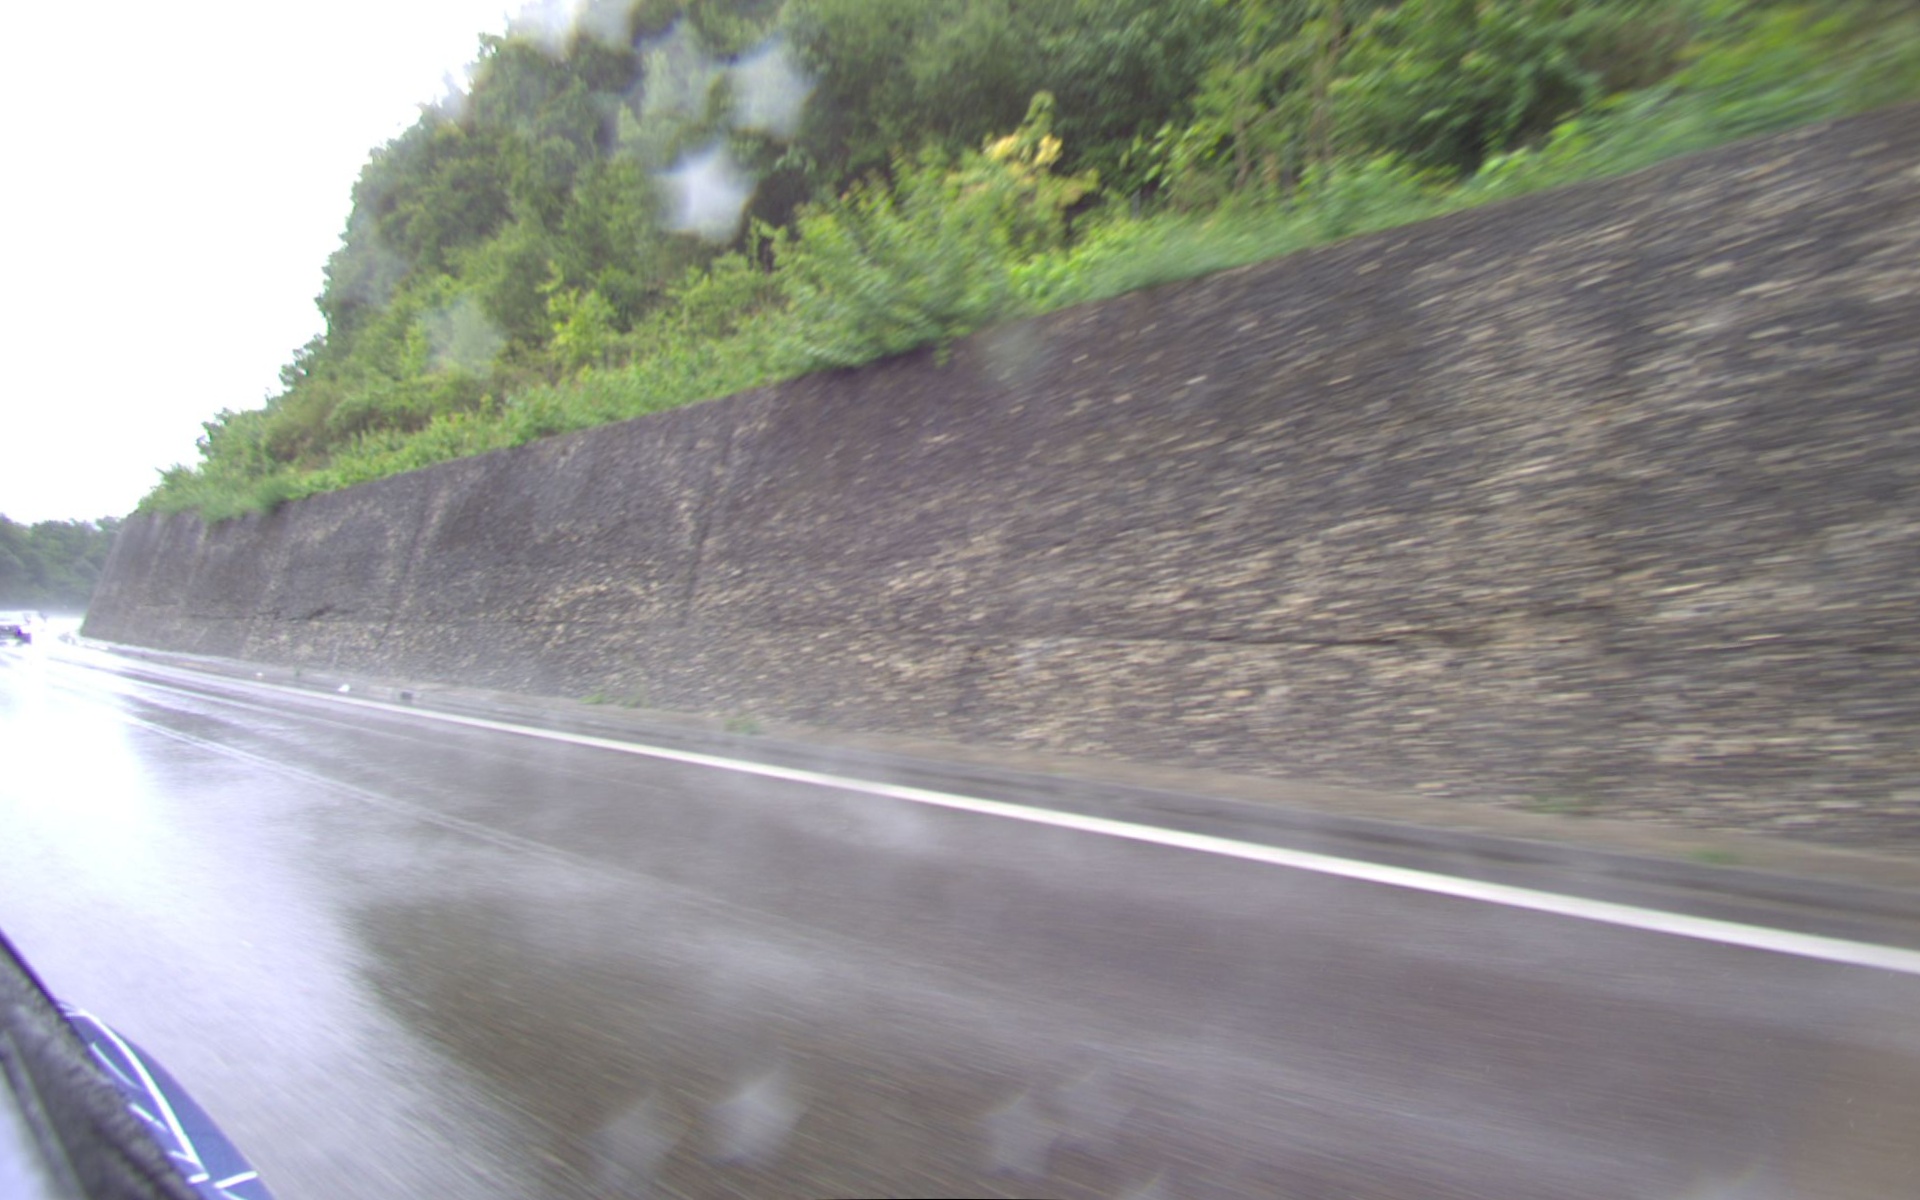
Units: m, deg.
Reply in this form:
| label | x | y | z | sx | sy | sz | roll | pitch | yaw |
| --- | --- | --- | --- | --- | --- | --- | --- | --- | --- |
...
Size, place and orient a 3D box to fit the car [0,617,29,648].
| label | x | y | z | sx | sy | sz | roll | pitch | yaw |
| --- | --- | --- | --- | --- | --- | --- | --- | --- | --- |
| car | -45.347 | 1.533 | 47.953 | 1.801 | 1.393 | 4.004 | -1 | 0 | -42 |

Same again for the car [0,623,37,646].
| label | x | y | z | sx | sy | sz | roll | pitch | yaw |
| --- | --- | --- | --- | --- | --- | --- | --- | --- | --- |
| car | -63.043 | 2.289 | 67.630 | 1.800 | 1.393 | 4.007 | -2 | 1 | -39 |
